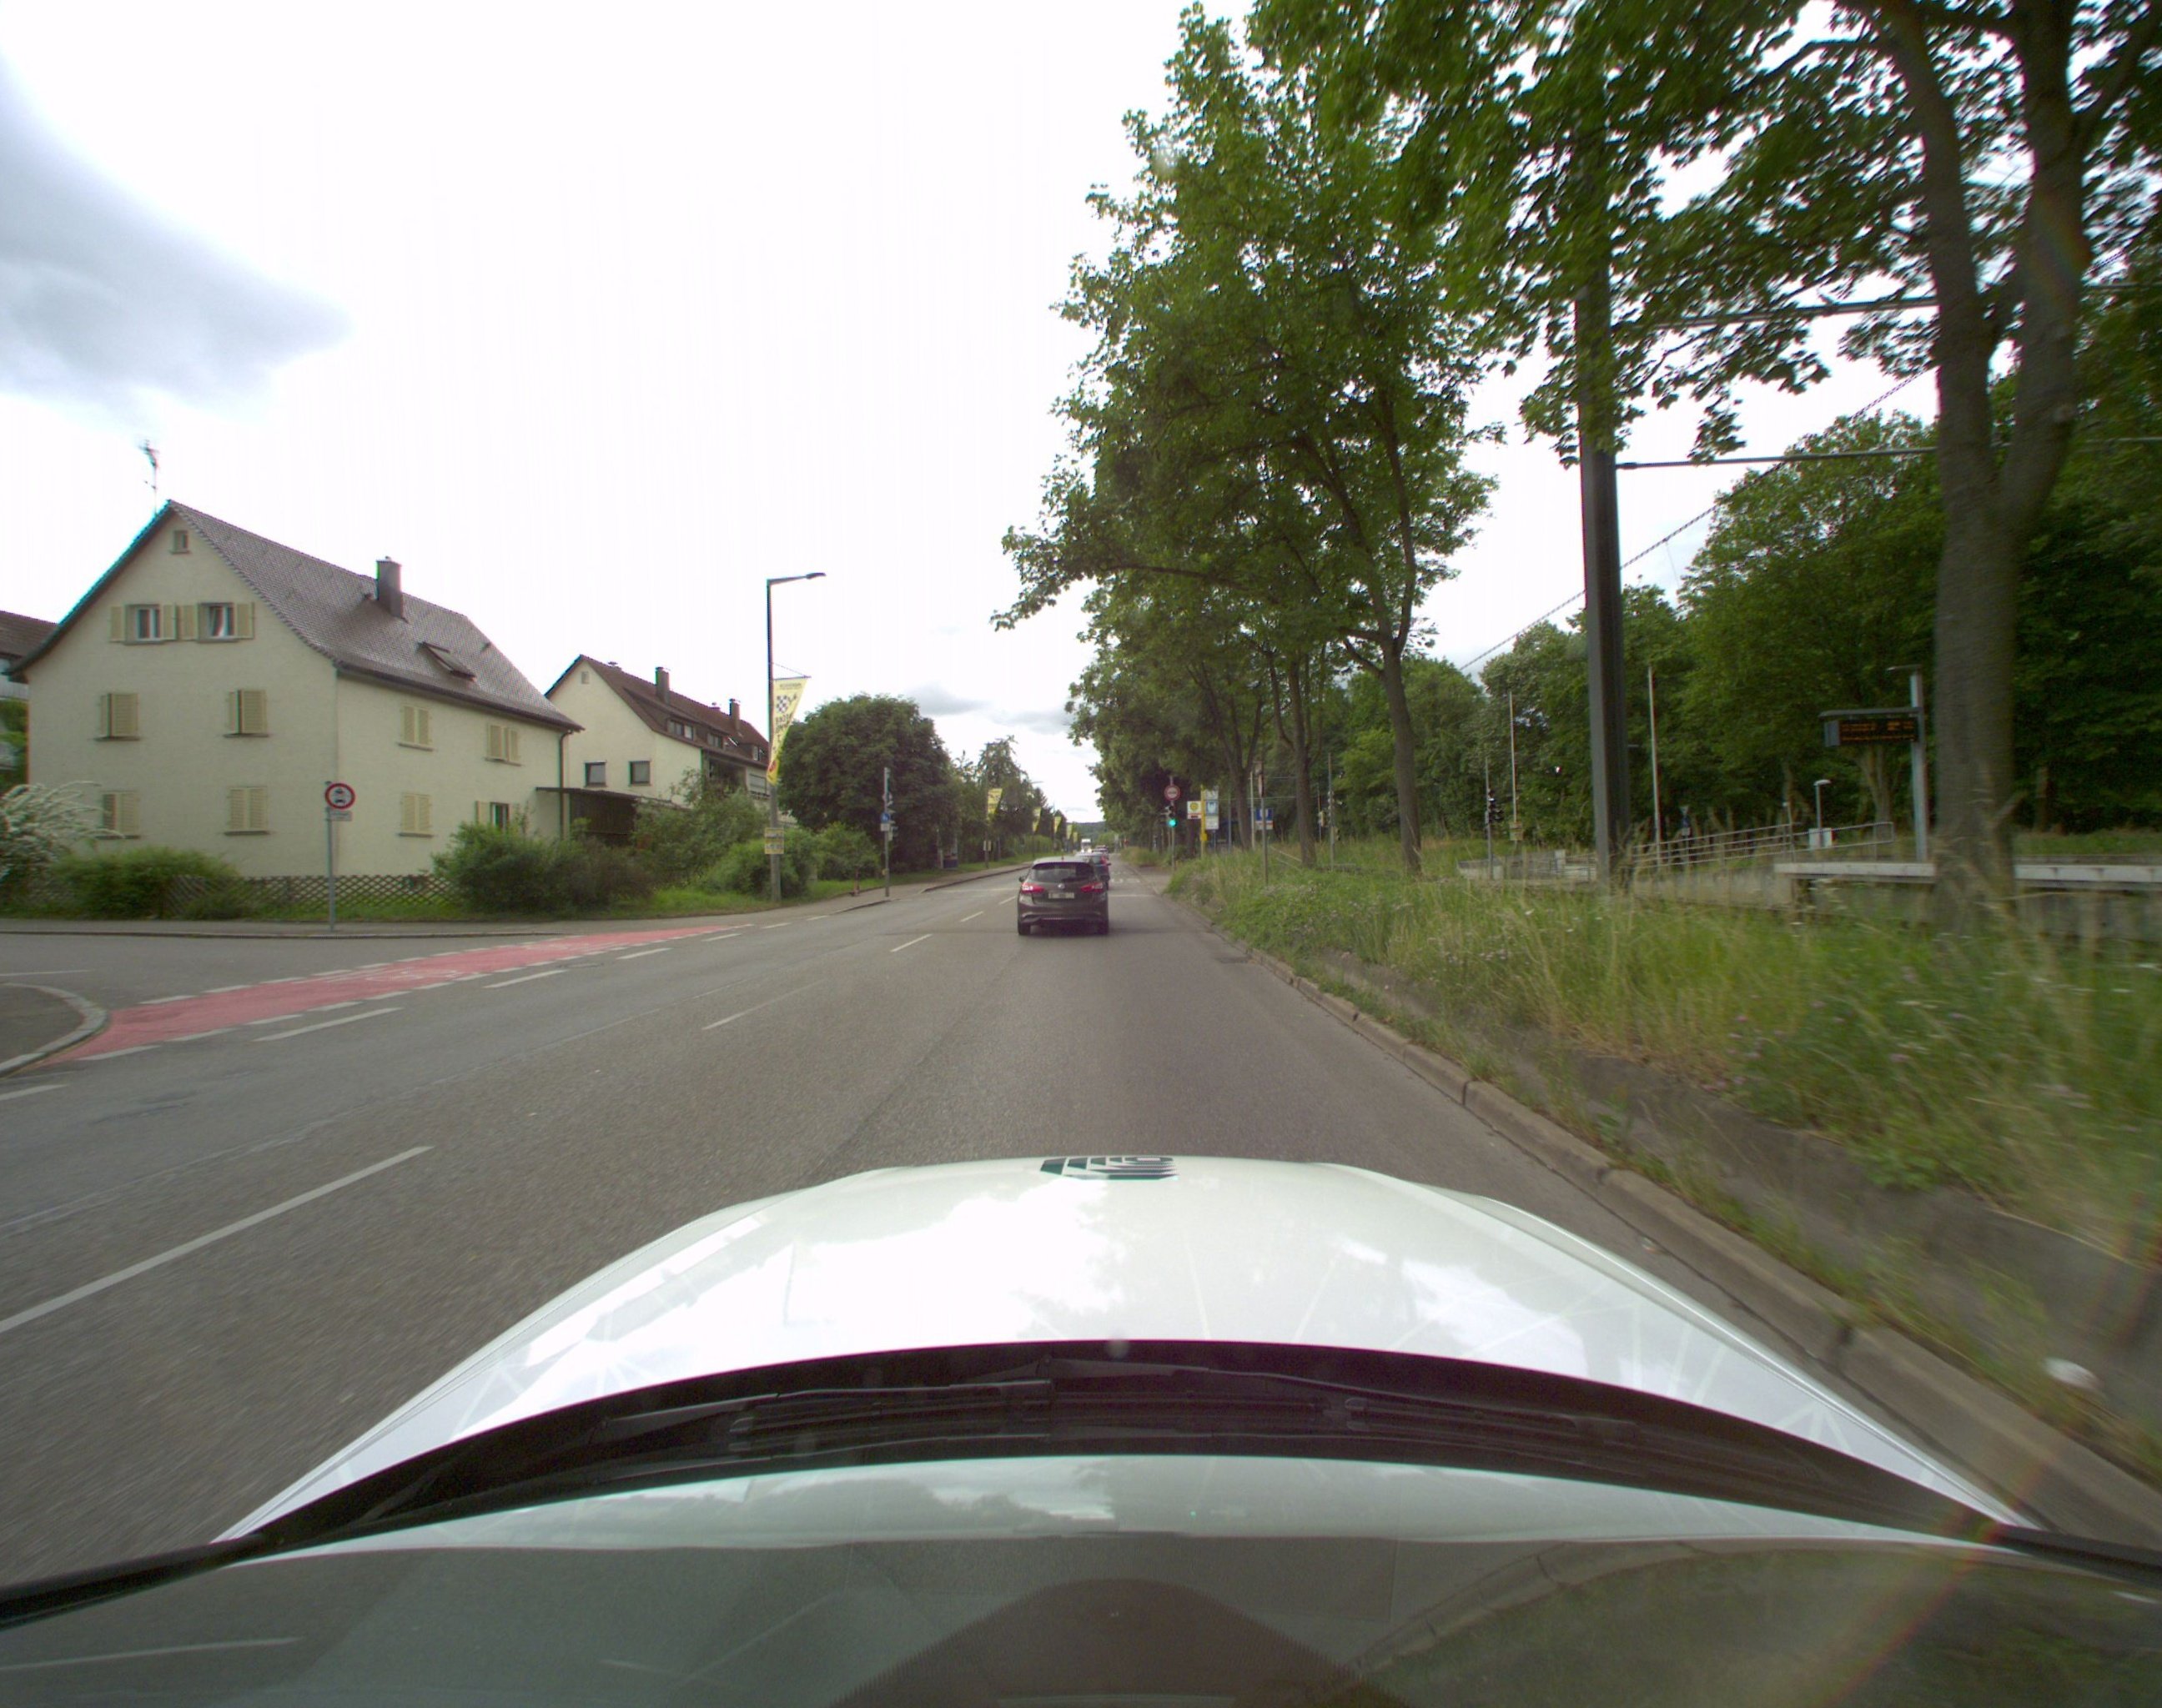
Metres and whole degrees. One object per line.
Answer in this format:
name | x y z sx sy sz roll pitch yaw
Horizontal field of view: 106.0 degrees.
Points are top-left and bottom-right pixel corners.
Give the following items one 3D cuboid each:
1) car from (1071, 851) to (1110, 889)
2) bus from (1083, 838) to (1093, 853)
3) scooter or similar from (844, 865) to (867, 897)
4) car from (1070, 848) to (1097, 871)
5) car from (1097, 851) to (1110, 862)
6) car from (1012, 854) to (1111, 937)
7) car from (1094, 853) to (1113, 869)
car | 0.418 0.624 33.644 1.496 1.441 3.543 -1 0 2
bus | 1.932 -2.214 222.460 2.478 4.025 10.222 -1 0 2
scooter or similar | -9.088 1.071 32.857 0.460 1.259 1.427 -1 0 3
car | 0.191 0.330 53.926 1.685 1.441 3.543 -1 0 2
car | 2.997 0.321 107.292 1.685 1.441 3.543 -1 0 2
car | -0.296 0.776 16.926 1.776 1.507 3.698 -1 0 2
car | 2.165 0.672 77.772 1.685 1.441 3.543 -1 0 2
